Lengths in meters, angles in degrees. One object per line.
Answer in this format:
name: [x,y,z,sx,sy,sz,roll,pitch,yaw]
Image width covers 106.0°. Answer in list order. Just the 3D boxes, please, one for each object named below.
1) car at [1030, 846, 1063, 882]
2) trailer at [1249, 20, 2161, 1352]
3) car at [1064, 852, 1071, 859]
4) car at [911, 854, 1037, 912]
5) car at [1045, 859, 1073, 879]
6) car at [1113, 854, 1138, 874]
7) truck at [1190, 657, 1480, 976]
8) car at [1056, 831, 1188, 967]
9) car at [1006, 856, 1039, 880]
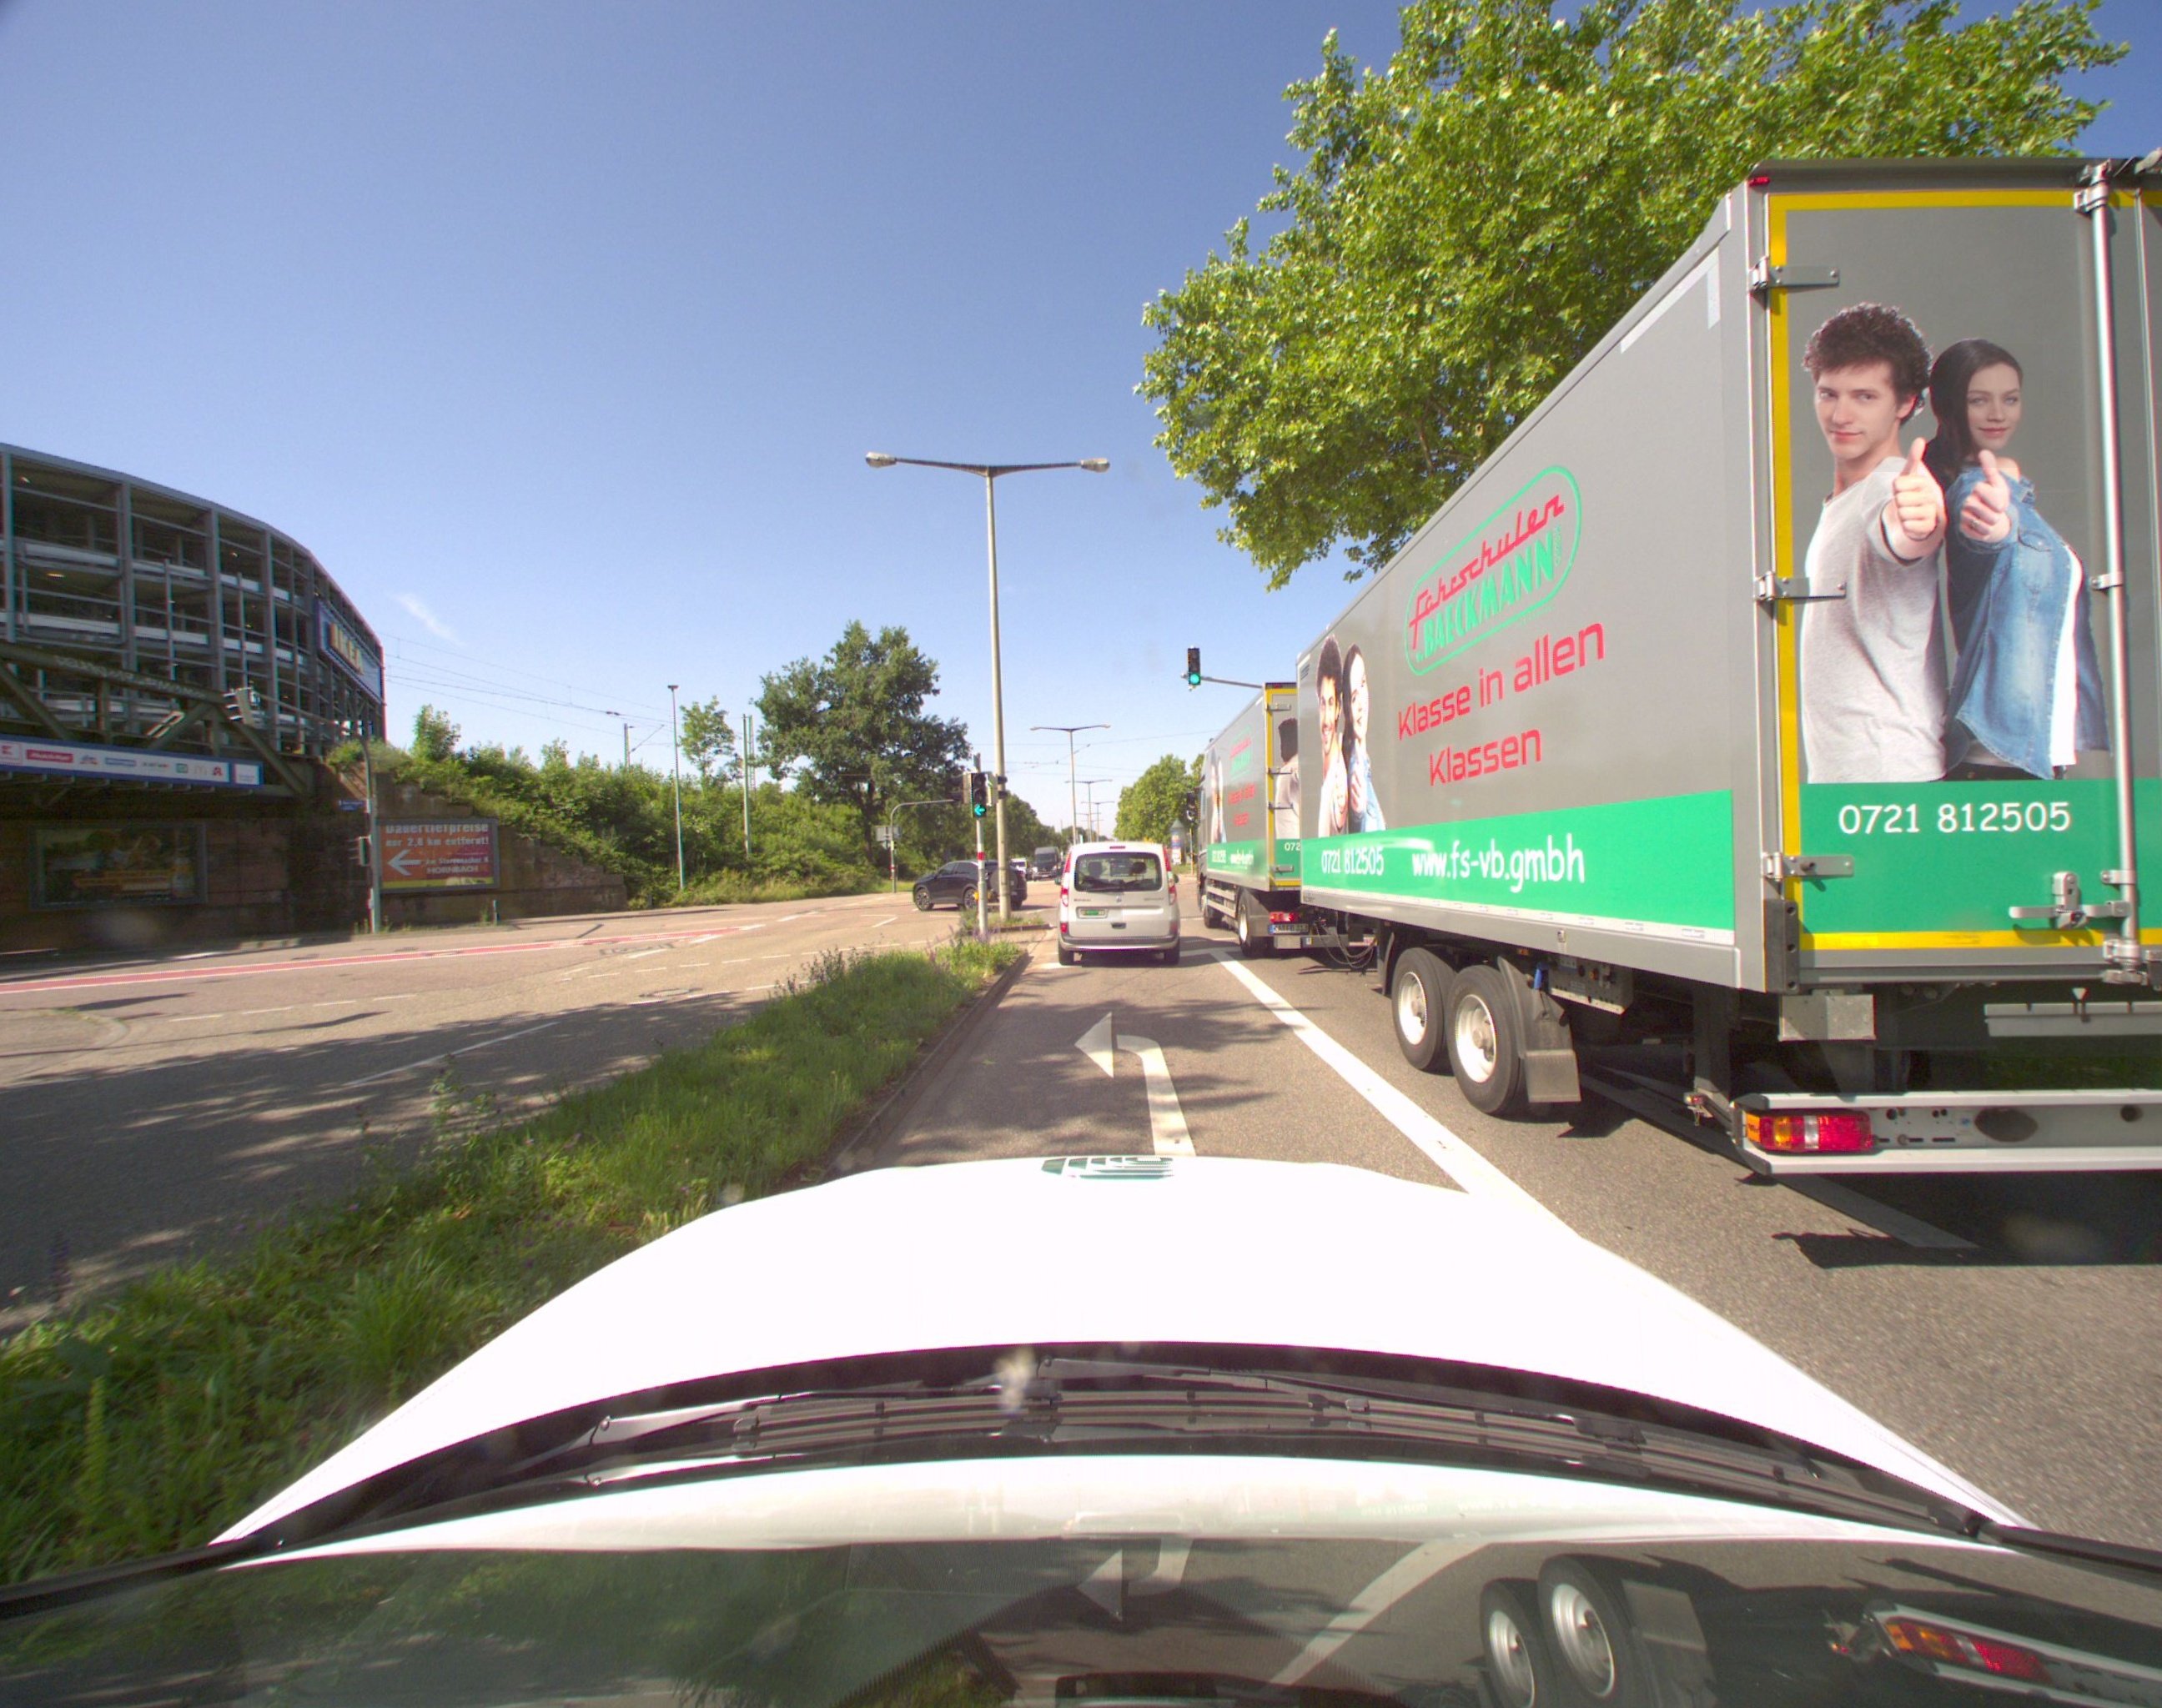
car: [-2.638,0.759,63.557,1.985,2.607,5.137,-3,-1,3]
trailer: [3.376,-0.491,6.246,2.726,3.877,7.739,-2,-1,2]
car: [-4.162,0.433,248.349,1.880,2.014,4.002,-1,-1,3]
car: [-3.562,0.934,26.519,1.948,1.662,4.177,-3,0,-43]
car: [-1.861,1.281,71.036,1.985,1.585,4.003,-3,-1,3]
car: [3.693,0.841,67.813,1.985,1.585,4.460,-1,-1,3]
truck: [3.727,-0.422,14.504,2.718,3.889,8.728,-2,-1,3]
car: [0.573,0.637,13.146,1.780,1.838,3.999,0,-1,0]
car: [-4.798,1.142,67.375,1.985,1.870,4.777,-3,-1,3]
